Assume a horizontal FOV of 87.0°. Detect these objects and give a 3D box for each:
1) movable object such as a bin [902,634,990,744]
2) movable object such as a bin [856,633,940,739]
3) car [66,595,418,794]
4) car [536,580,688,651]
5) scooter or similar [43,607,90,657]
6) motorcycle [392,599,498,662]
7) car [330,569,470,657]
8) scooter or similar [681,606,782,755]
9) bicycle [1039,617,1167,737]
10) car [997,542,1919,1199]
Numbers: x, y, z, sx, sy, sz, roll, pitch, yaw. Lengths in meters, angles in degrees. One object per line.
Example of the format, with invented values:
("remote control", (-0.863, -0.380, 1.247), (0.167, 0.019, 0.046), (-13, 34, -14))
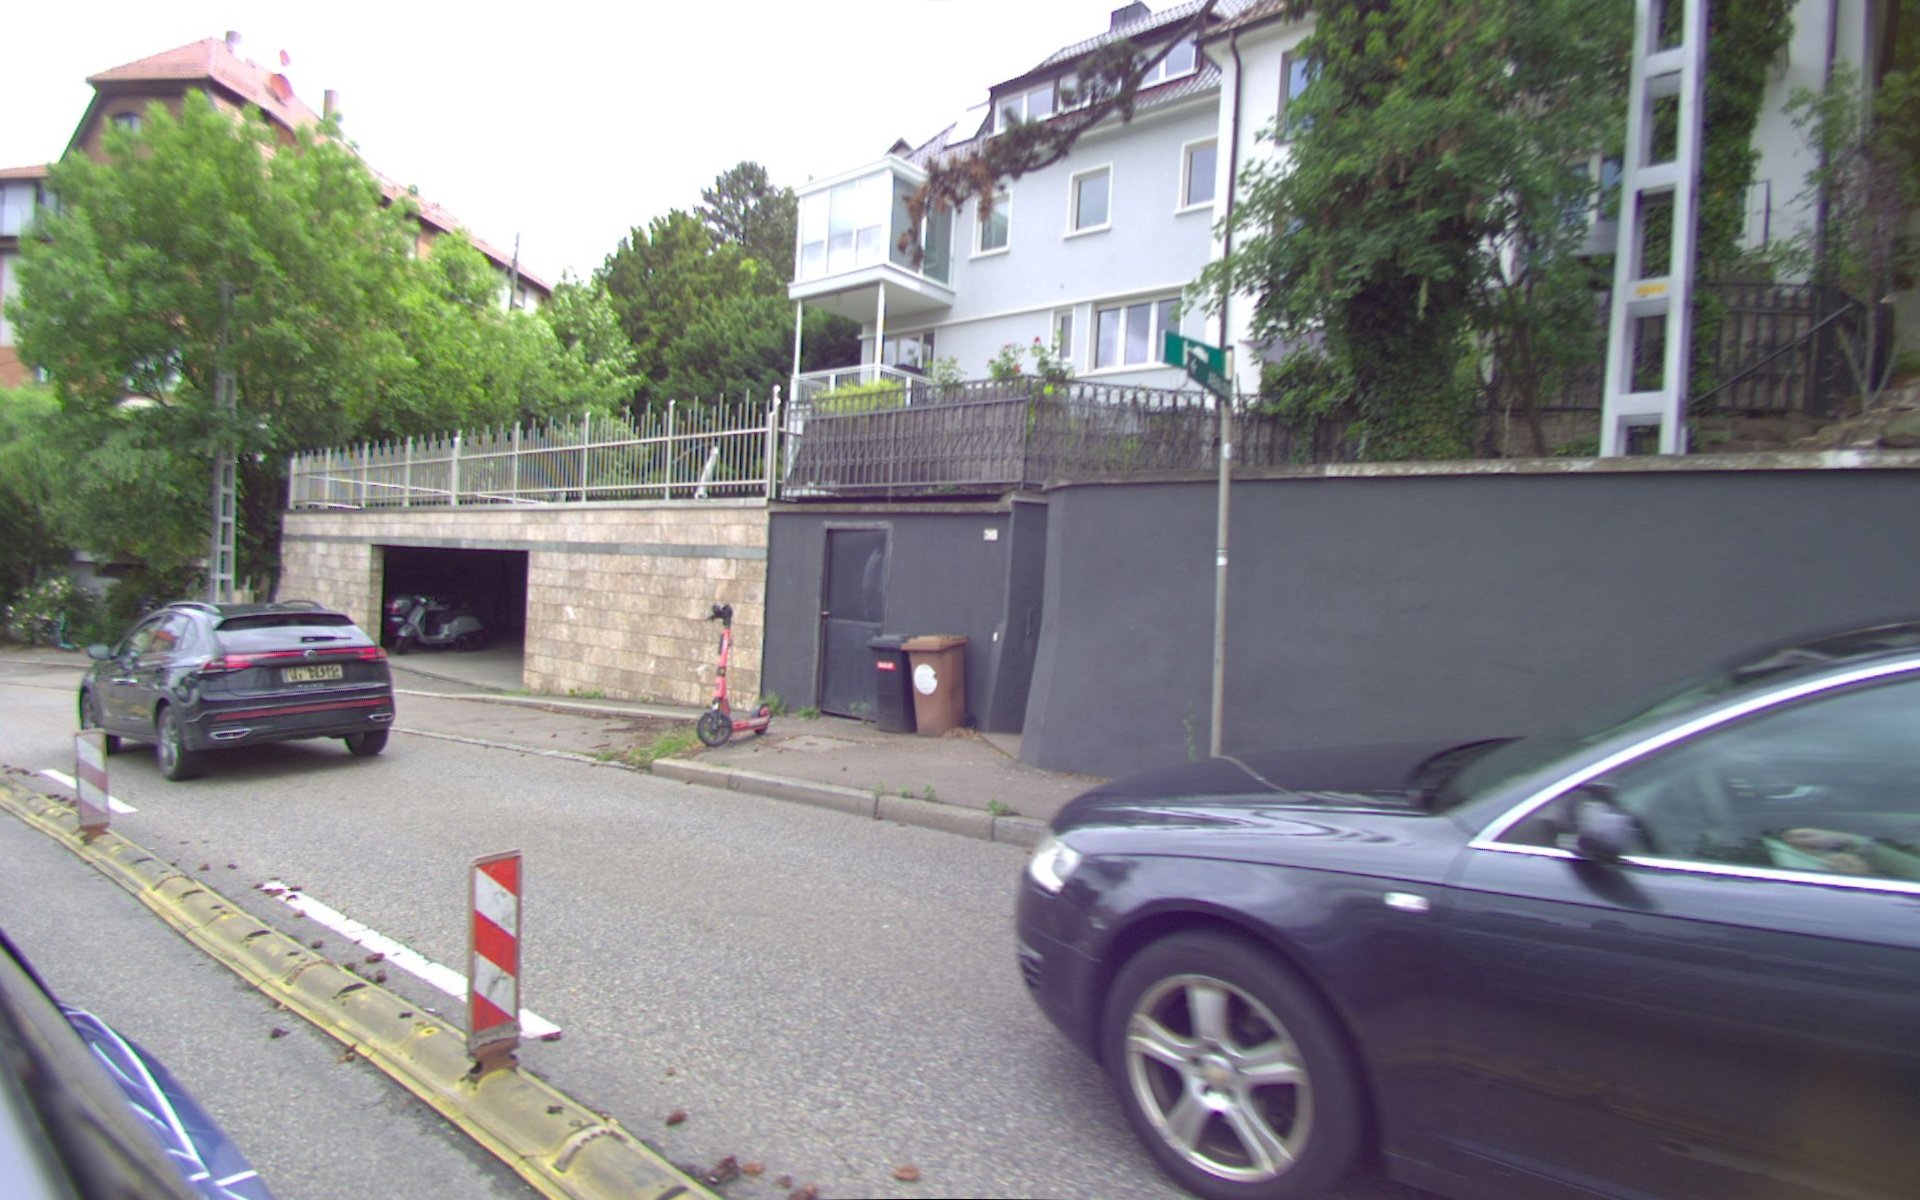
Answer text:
("movable object such as a bin", (-0.130, 0.801, 9.325), (0.600, 0.946, 0.537), (-1, 0, 40))
("movable object such as a bin", (-0.592, 0.803, 9.716), (0.600, 0.946, 0.537), (-1, 0, 40))
("car", (-7.094, 0.768, 9.872), (3.905, 1.541, 1.742), (-1, 0, 38))
("car", (-8.875, 0.354, 25.657), (3.996, 1.462, 1.724), (5, 2, 39))
("scooter or similar", (-23.342, 0.824, 26.439), (0.954, 1.266, 0.404), (-1, 3, 14))
("motorcycle", (-10.557, 0.592, 20.767), (0.637, 1.192, 1.818), (5, 4, 44))
("car", (-12.288, 0.215, 22.126), (3.587, 1.616, 1.552), (5, 4, 41))
("scooter or similar", (-2.027, 0.680, 9.104), (0.489, 1.242, 1.212), (-1, 0, 8))
("bicycle", (1.417, 0.740, 10.080), (1.206, 1.141, 0.342), (-1, -1, 26))
("car", (2.376, 0.638, 1.951), (4.507, 1.475, 1.772), (-1, 0, 41))
